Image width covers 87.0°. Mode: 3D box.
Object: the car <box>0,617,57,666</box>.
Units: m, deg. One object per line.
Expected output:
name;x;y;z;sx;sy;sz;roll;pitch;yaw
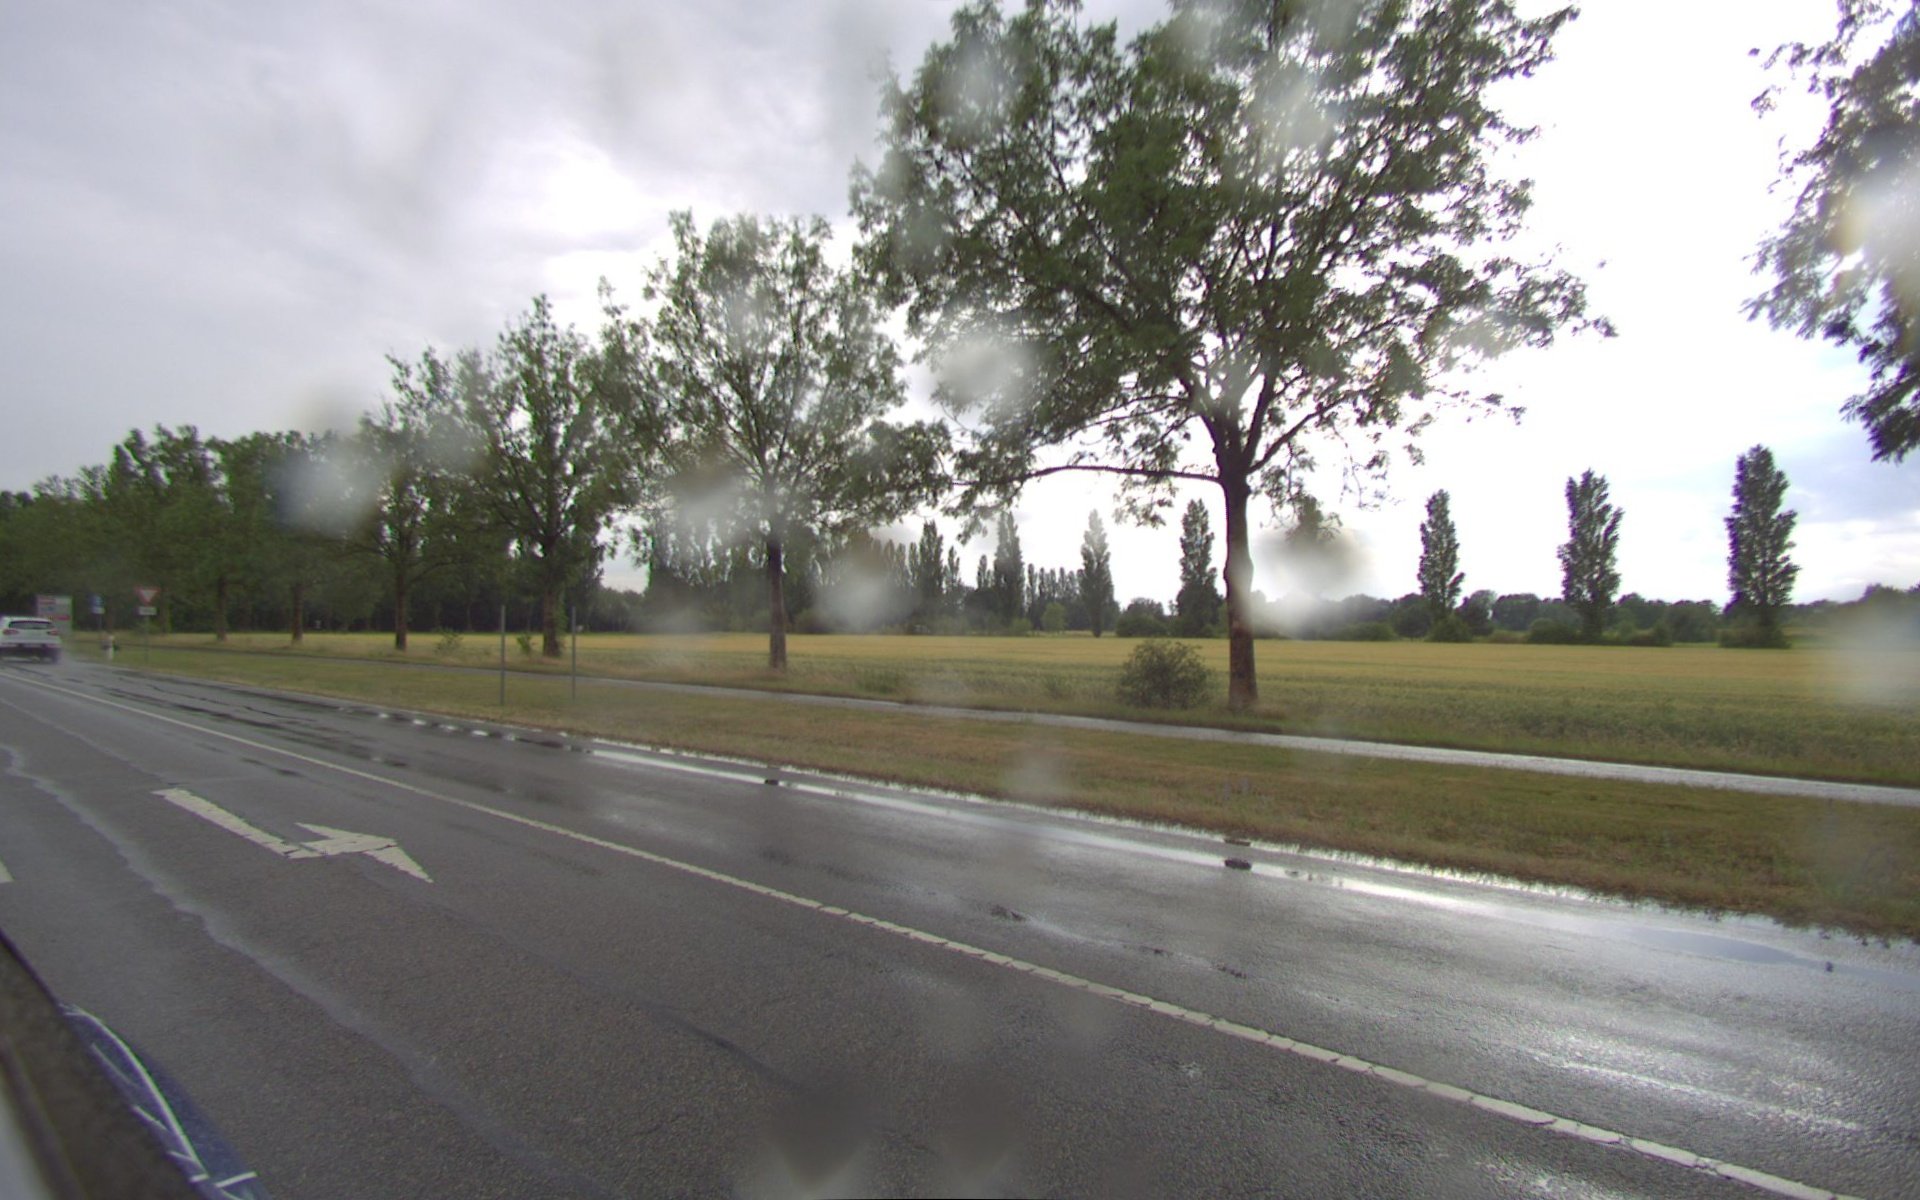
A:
car;-34.493;1.504;37.025;4.155;1.684;1.685;-1;-4;42
